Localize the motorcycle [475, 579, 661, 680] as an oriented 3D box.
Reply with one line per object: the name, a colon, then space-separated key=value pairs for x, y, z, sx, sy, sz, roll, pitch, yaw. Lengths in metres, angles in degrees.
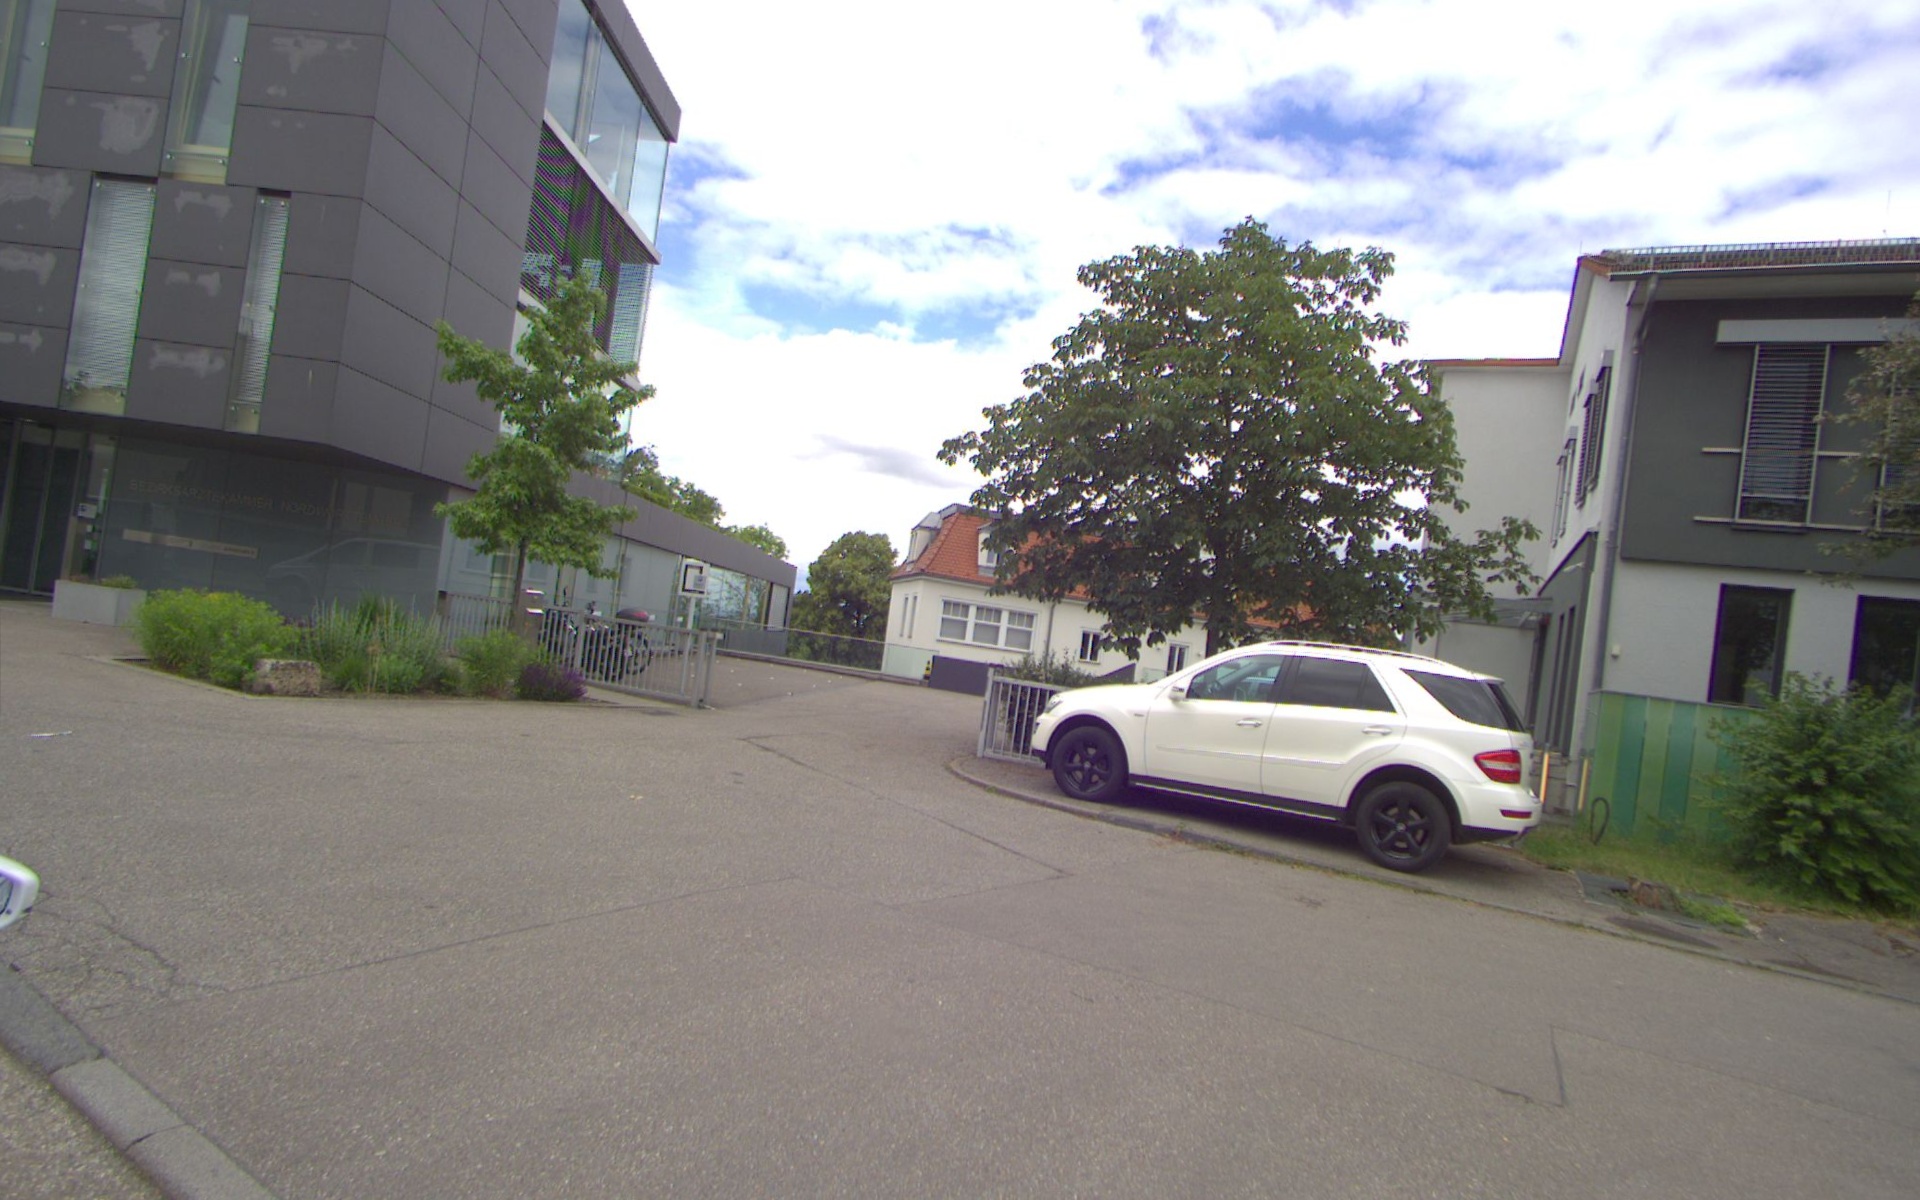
motorcycle: x=-6.496 y=0.492 z=16.739 sx=2.643 sy=1.275 sz=0.850 roll=8 pitch=-1 yaw=5

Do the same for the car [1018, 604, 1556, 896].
car: x=3.069 y=1.229 z=9.709 sx=4.442 sy=1.860 sz=1.996 roll=6 pitch=-1 yaw=31

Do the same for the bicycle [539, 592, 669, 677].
bicycle: x=-6.578 y=0.643 z=18.643 sx=2.063 sy=1.275 sz=0.616 roll=8 pitch=-1 yaw=5
